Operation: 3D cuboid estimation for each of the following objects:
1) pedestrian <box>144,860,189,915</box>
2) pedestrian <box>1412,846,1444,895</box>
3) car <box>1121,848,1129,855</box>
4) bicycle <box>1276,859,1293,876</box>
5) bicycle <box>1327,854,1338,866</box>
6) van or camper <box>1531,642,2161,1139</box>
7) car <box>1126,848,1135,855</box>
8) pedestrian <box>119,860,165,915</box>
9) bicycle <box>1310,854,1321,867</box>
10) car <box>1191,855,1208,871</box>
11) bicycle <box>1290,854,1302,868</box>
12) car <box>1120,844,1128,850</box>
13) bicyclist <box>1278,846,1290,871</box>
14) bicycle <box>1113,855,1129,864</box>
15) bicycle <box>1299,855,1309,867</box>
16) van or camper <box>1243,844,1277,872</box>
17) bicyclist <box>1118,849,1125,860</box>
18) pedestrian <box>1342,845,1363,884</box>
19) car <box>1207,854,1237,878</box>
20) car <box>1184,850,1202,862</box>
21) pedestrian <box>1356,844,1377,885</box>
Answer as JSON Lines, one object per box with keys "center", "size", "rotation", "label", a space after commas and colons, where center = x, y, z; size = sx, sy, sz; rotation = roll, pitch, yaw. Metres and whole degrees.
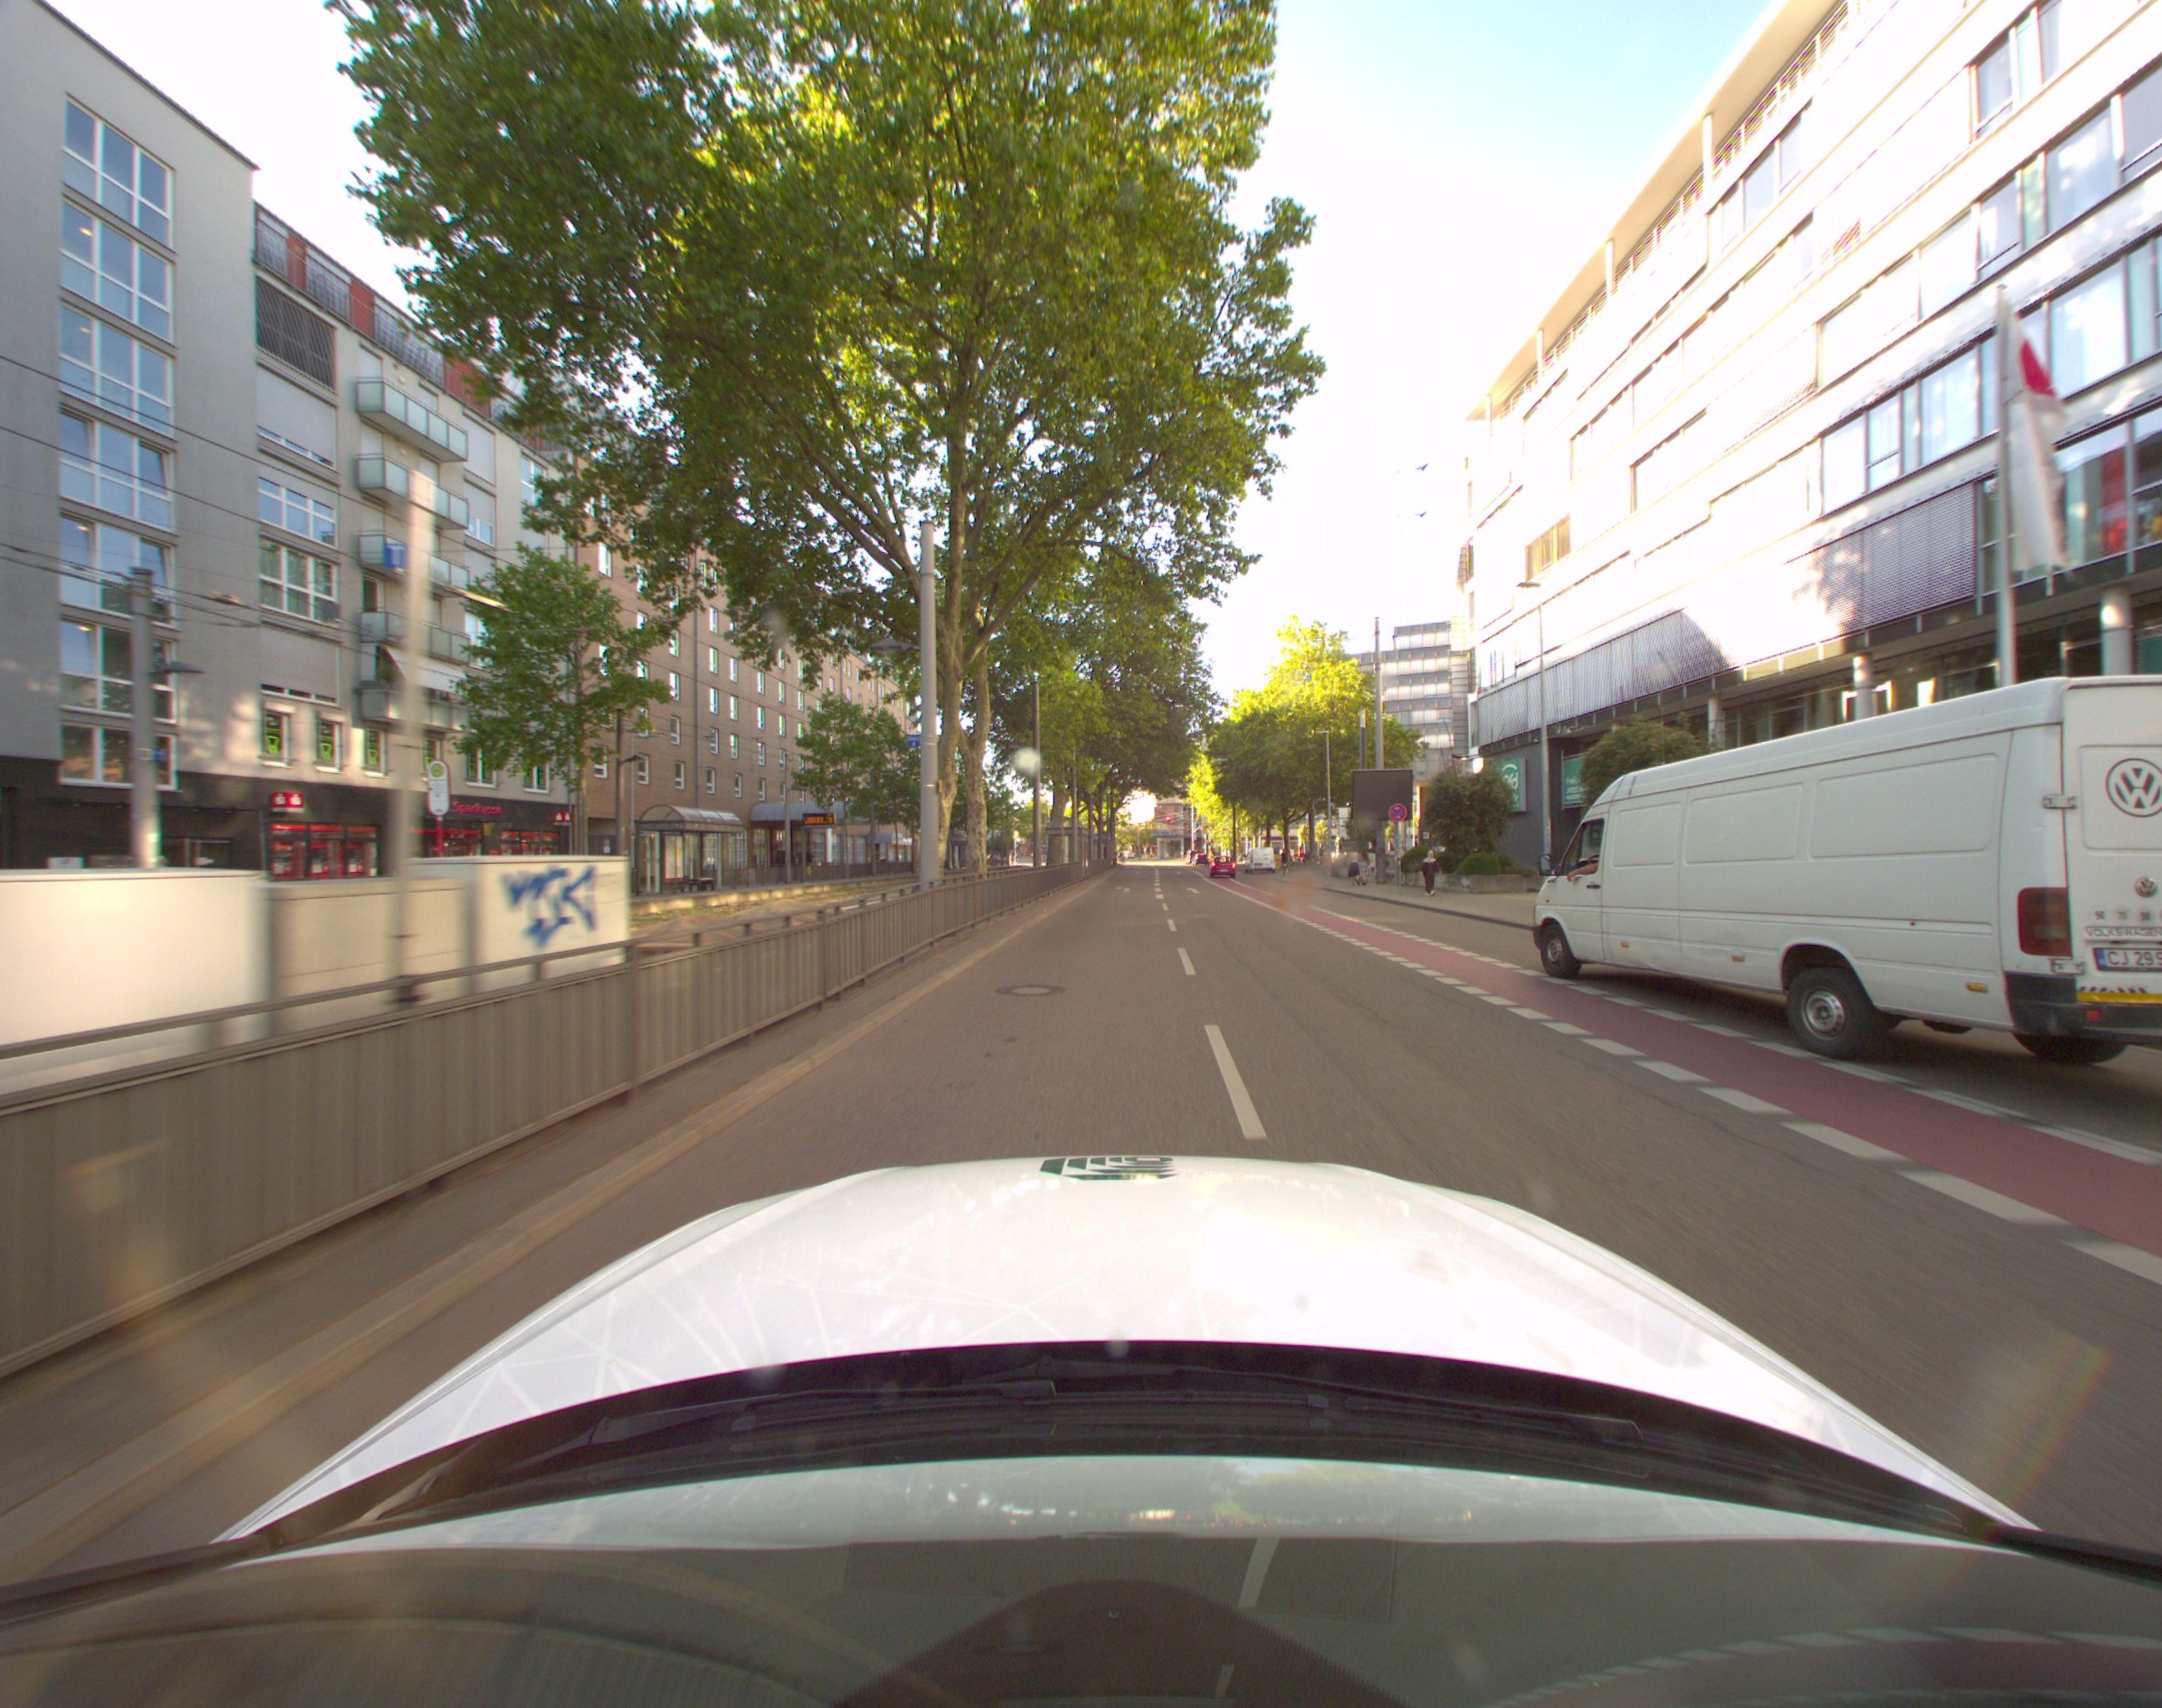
{"center": [-25.594, 0.936, 22.804], "size": [0.532, 1.494, 0.588], "rotation": [-2, 0, 1], "label": "pedestrian"}
{"center": [11.894, 0.556, 27.930], "size": [0.640, 1.579, 0.723], "rotation": [-5, 0, -1], "label": "pedestrian"}
{"center": [10.586, -0.570, 195.233], "size": [1.772, 1.534, 3.411], "rotation": [-1, 1, -1], "label": "car"}
{"center": [13.676, 0.908, 54.755], "size": [0.680, 1.067, 2.472], "rotation": [-2, 0, 4], "label": "bicycle"}
{"center": [20.938, 0.471, 67.835], "size": [0.501, 0.982, 1.769], "rotation": [-2, 0, 4], "label": "bicycle"}
{"center": [6.705, 0.159, 7.559], "size": [1.960, 2.716, 6.312], "rotation": [0, 1, 4], "label": "van or camper"}
{"center": [11.395, -0.670, 188.568], "size": [1.772, 1.534, 3.411], "rotation": [-1, 1, -1], "label": "car"}
{"center": [-26.203, 0.937, 22.730], "size": [0.532, 1.494, 0.588], "rotation": [-2, 0, 1], "label": "pedestrian"}
{"center": [19.619, 0.531, 68.088], "size": [0.501, 0.982, 1.769], "rotation": [-2, 0, 4], "label": "bicycle"}
{"center": [14.578, 1.118, 100.196], "size": [1.629, 1.800, 3.332], "rotation": [-2, 0, 2], "label": "car"}
{"center": [18.013, 0.575, 68.158], "size": [0.583, 1.067, 1.902], "rotation": [-2, 0, 4], "label": "bicycle"}
{"center": [10.595, -1.713, 201.258], "size": [1.772, 1.588, 3.411], "rotation": [-1, 1, -1], "label": "car"}
{"center": [13.670, 0.287, 54.839], "size": [0.647, 1.702, 0.953], "rotation": [-1, 0, 3], "label": "bicyclist"}
{"center": [5.587, 0.776, 113.271], "size": [2.016, 1.214, 0.835], "rotation": [-1, 0, -16], "label": "bicycle"}
{"center": [18.651, 0.569, 68.136], "size": [0.465, 0.982, 1.769], "rotation": [-2, 0, 4], "label": "bicycle"}
{"center": [13.771, 0.279, 62.963], "size": [1.984, 1.989, 4.752], "rotation": [-1, 0, 5], "label": "van or camper"}
{"center": [5.612, 0.054, 113.272], "size": [0.838, 1.591, 0.835], "rotation": [-1, 0, -16], "label": "bicyclist"}
{"center": [12.355, 0.468, 37.044], "size": [0.562, 1.702, 0.907], "rotation": [-4, 0, 2], "label": "pedestrian"}
{"center": [9.466, 0.780, 54.863], "size": [1.606, 1.534, 3.416], "rotation": [-1, 1, 4], "label": "car"}
{"center": [14.612, 0.230, 106.425], "size": [1.772, 1.534, 3.511], "rotation": [-1, 1, 0], "label": "car"}
{"center": [12.979, 0.459, 37.058], "size": [0.538, 1.796, 0.907], "rotation": [-4, 0, 2], "label": "pedestrian"}
